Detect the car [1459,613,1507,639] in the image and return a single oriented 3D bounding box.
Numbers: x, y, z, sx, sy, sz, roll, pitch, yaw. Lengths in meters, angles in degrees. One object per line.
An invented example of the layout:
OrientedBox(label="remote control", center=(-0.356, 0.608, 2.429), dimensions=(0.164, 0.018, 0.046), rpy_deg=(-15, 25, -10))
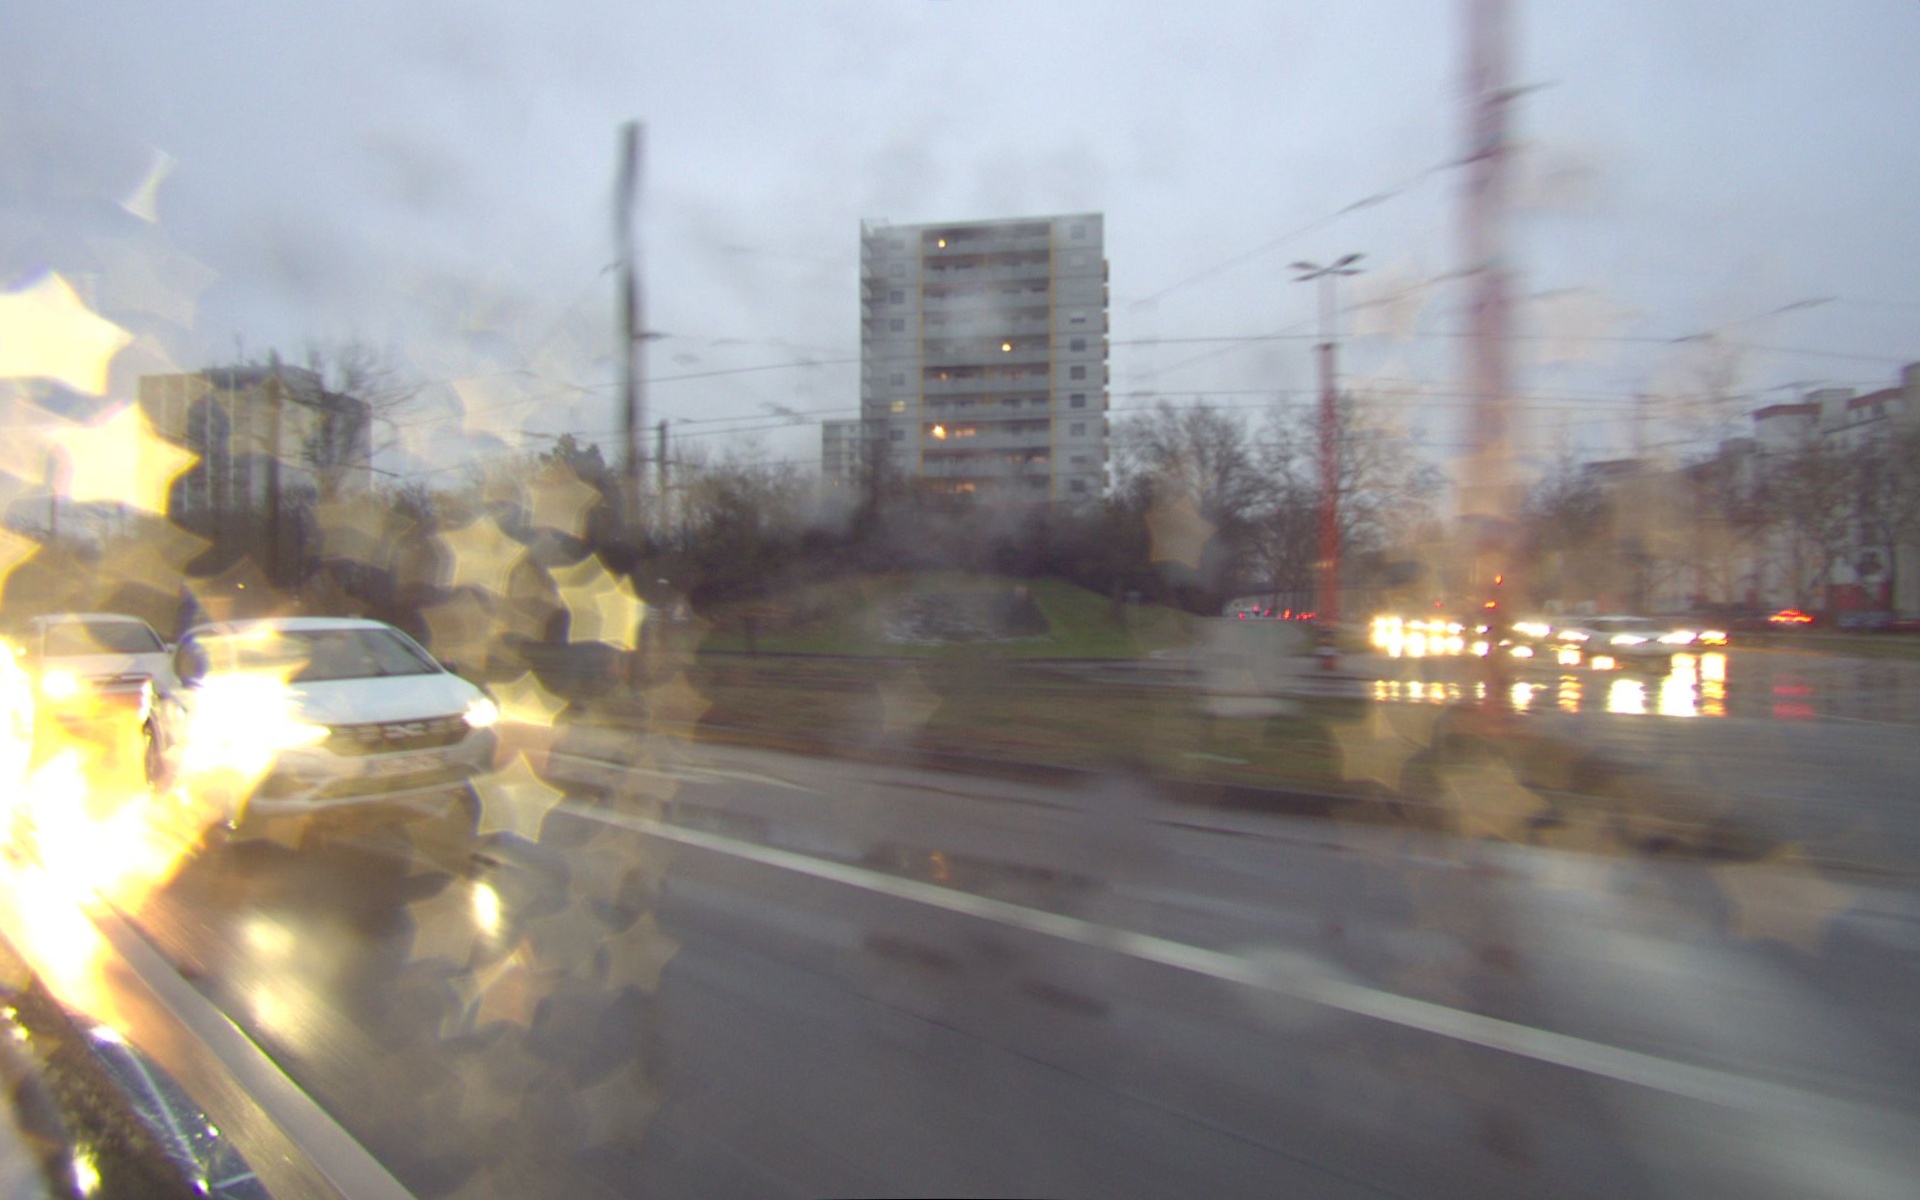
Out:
OrientedBox(label="car", center=(32.097, 1.591, 62.222), dimensions=(1.696, 1.556, 3.981), rpy_deg=(-1, -2, 14))

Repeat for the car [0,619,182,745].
OrientedBox(label="car", center=(-12.925, 1.095, 14.886), dimensions=(4.190, 1.551, 1.671), rpy_deg=(-1, 0, 43))

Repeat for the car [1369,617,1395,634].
OrientedBox(label="car", center=(39.981, 2.451, 95.930), dimensions=(1.696, 1.556, 3.962), rpy_deg=(-1, -2, 14))

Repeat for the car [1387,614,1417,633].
OrientedBox(label="car", center=(38.061, 2.037, 87.288), dimensions=(1.696, 1.556, 3.962), rpy_deg=(-1, -2, 14))

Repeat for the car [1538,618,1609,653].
OrientedBox(label="car", center=(28.375, 1.618, 46.928), dimensions=(1.696, 1.556, 3.981), rpy_deg=(-1, -2, 14))

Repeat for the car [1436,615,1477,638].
OrientedBox(label="car", center=(33.805, 1.806, 68.998), dimensions=(1.696, 1.556, 3.981), rpy_deg=(-1, -2, 14))

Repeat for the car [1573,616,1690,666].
OrientedBox(label="car", center=(22.431, 1.347, 34.010), dimensions=(1.834, 1.556, 4.420), rpy_deg=(-1, -2, 14))

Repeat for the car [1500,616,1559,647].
OrientedBox(label="car", center=(29.832, 1.625, 53.121), dimensions=(1.696, 1.556, 3.981), rpy_deg=(-1, -2, 14))

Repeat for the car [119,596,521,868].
OrientedBox(label="car", center=(-5.340, 0.851, 8.218), dimensions=(4.146, 1.660, 1.696), rpy_deg=(-1, -2, 42))

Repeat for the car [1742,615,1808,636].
OrientedBox(label="car", center=(56.080, 1.746, 69.721), dimensions=(1.756, 1.397, 3.989), rpy_deg=(-1, -2, 9))

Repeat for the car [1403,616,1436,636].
OrientedBox(label="car", center=(36.478, 2.037, 80.407), dimensions=(1.696, 1.556, 3.962), rpy_deg=(-1, -2, 14))
